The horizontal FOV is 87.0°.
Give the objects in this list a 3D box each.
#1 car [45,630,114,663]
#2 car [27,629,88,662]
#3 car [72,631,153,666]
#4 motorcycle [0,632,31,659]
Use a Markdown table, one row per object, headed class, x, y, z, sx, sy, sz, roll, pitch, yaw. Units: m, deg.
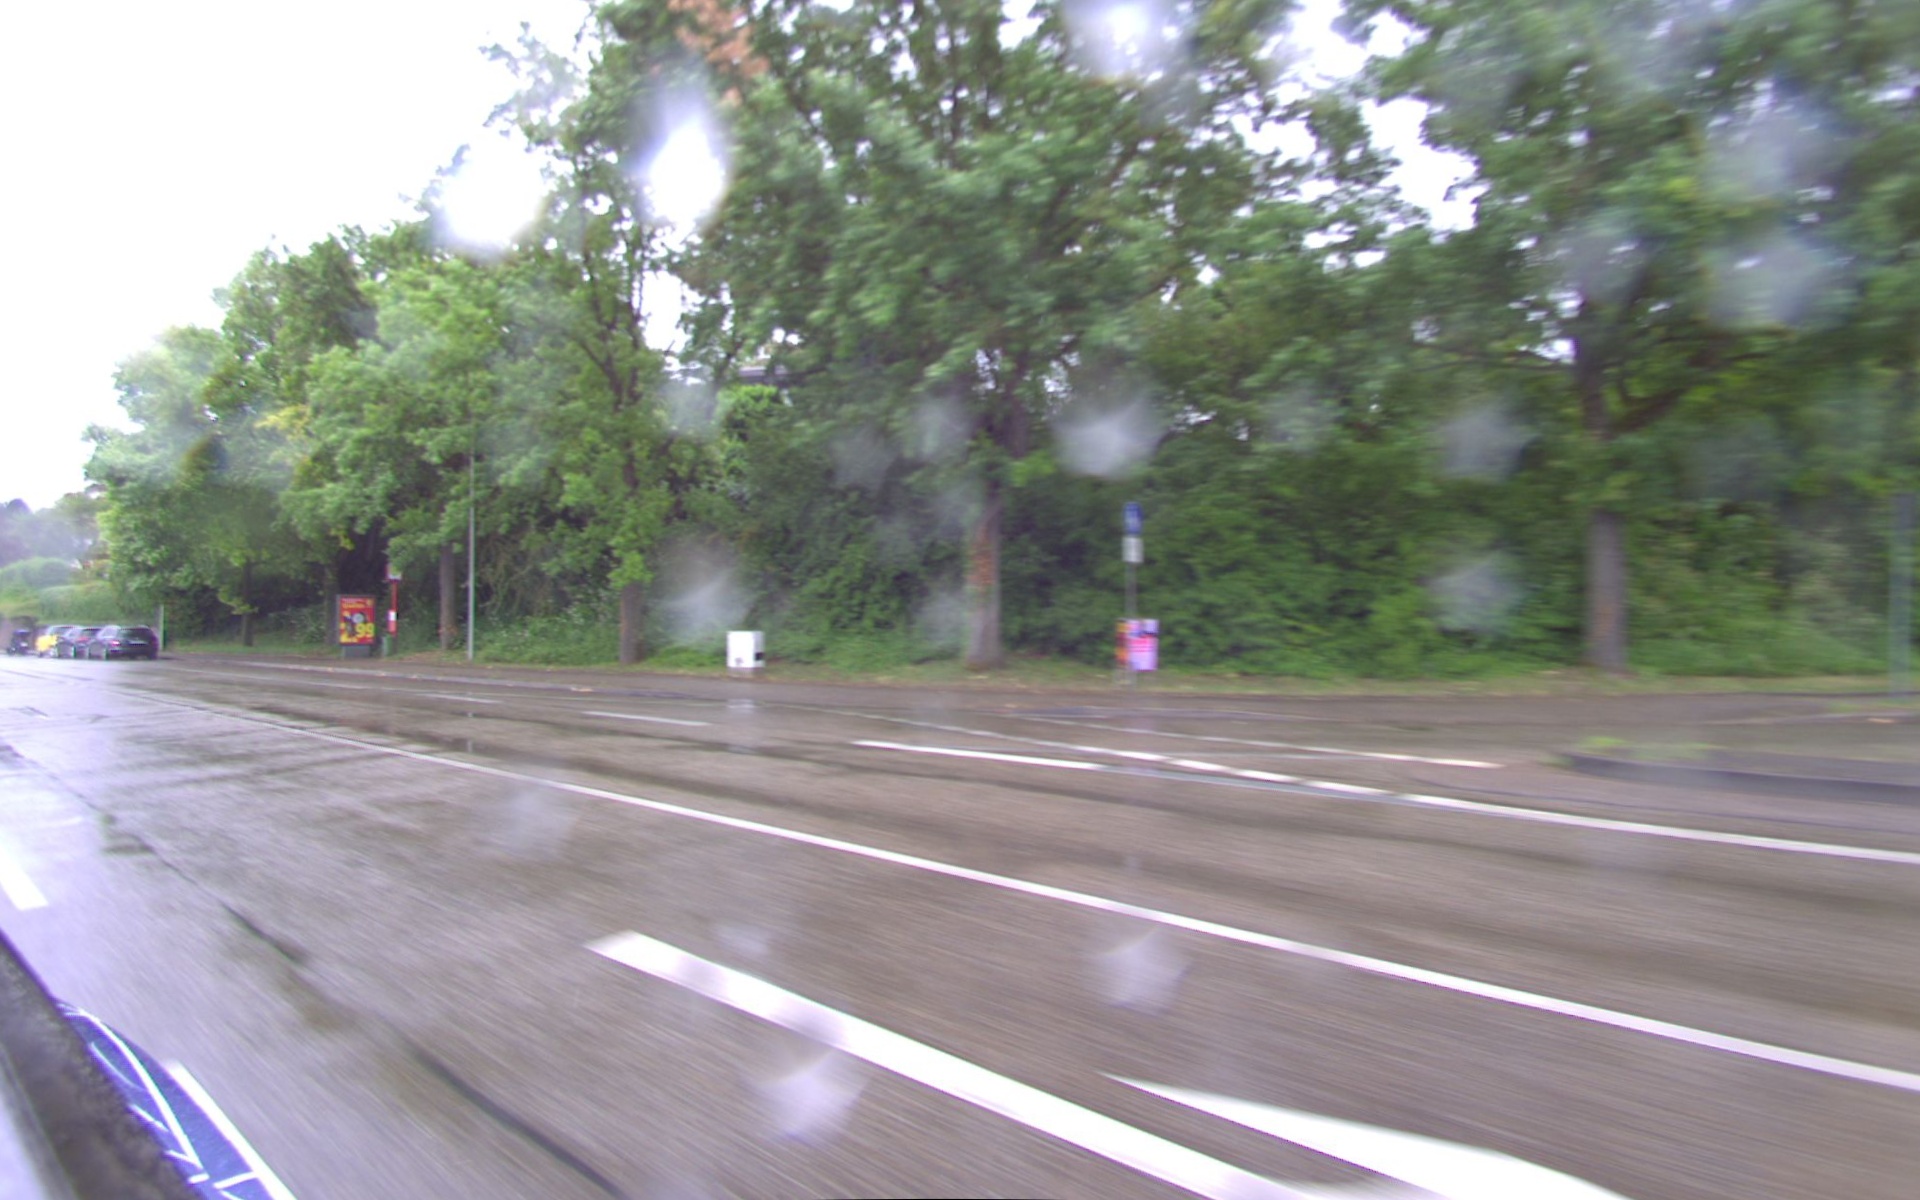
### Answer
| class | x | y | z | sx | sy | sz | roll | pitch | yaw |
| --- | --- | --- | --- | --- | --- | --- | --- | --- | --- |
| car | -40.337 | 2.114 | 46.316 | 4.094 | 1.430 | 1.421 | -1 | -2 | 35 |
| car | -43.479 | 2.180 | 48.769 | 2.809 | 1.549 | 1.423 | -1 | -2 | 31 |
| car | -36.196 | 2.028 | 43.179 | 4.734 | 1.430 | 1.671 | -1 | -2 | 38 |
| motorcycle | -49.091 | 2.344 | 52.426 | 2.492 | 1.351 | 0.830 | -1 | -2 | 33 |
